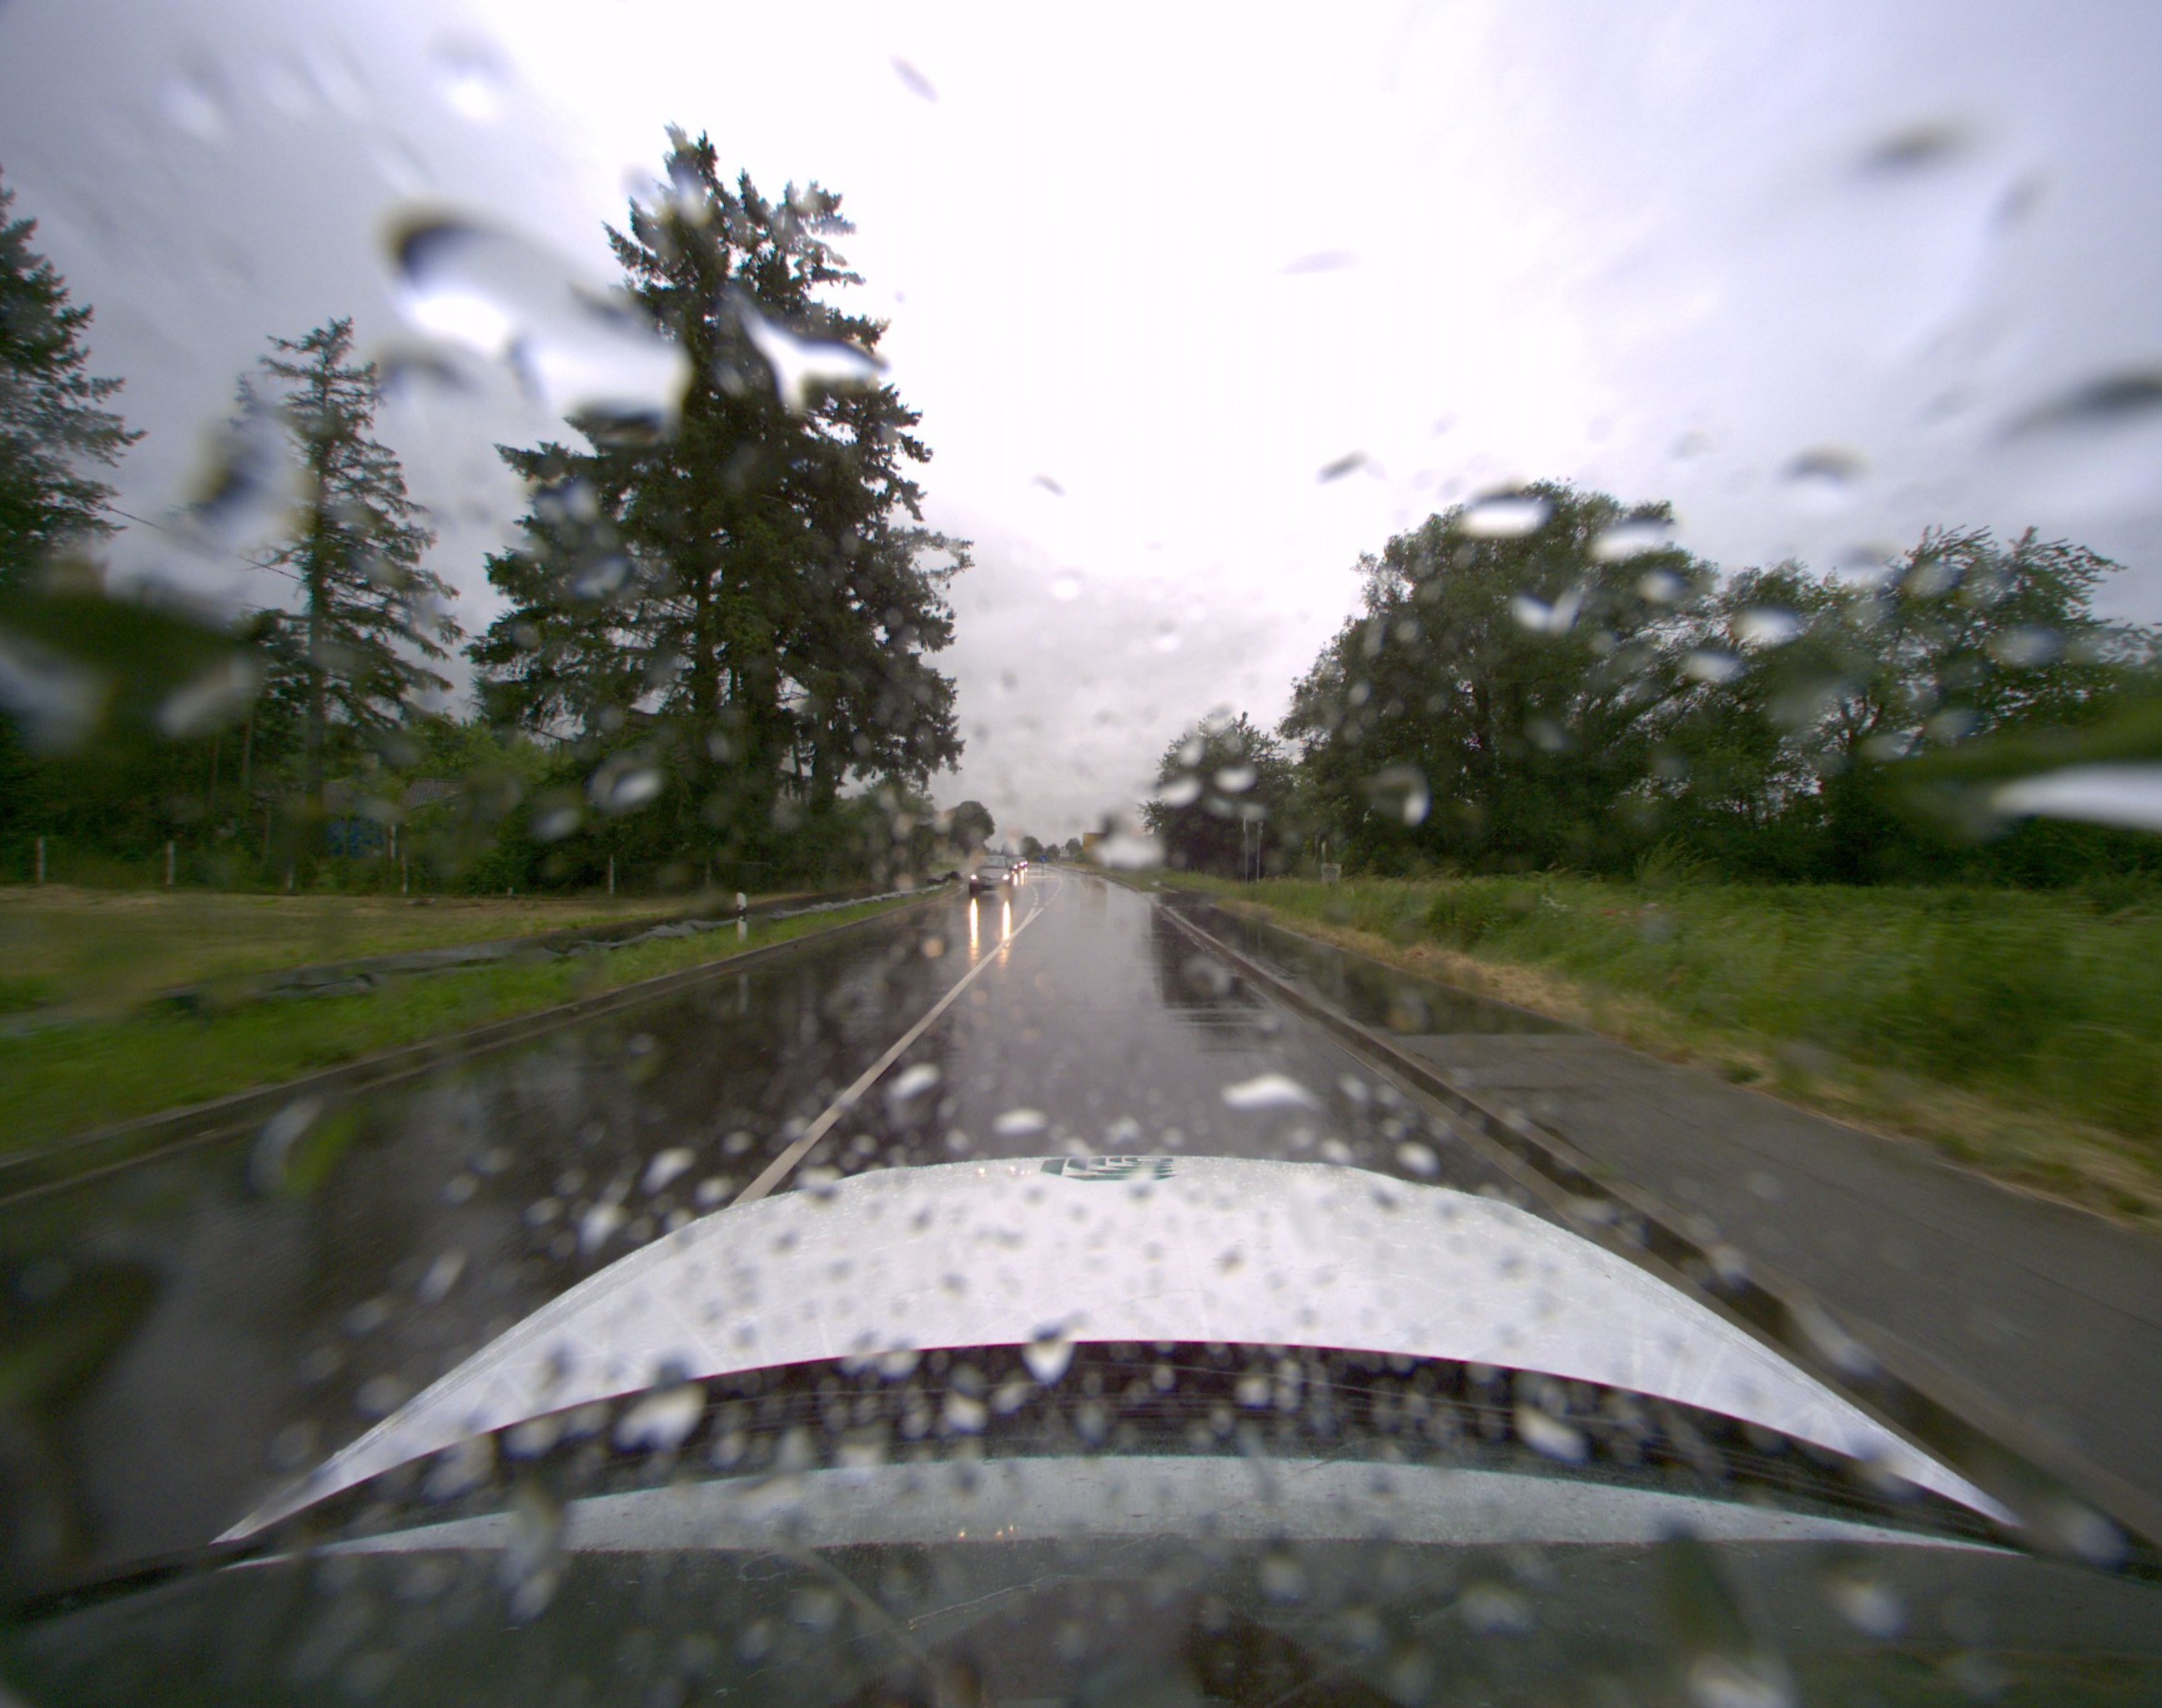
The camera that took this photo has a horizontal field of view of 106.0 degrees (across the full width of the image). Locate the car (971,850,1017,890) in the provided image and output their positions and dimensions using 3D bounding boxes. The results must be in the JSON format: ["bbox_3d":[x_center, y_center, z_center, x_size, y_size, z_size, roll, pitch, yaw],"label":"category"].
[{"bbox_3d":[-3.720,0.656,35.314,1.756,1.552,3.996,-1,1,-3],"label":"car"}]

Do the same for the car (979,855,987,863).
[{"bbox_3d":[-25.628,1.206,213.491,1.991,1.972,4.946,1,1,-7],"label":"car"}]

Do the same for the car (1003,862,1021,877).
[{"bbox_3d":[-6.679,1.461,78.620,1.680,1.383,4.216,-1,0,-6],"label":"car"}]
